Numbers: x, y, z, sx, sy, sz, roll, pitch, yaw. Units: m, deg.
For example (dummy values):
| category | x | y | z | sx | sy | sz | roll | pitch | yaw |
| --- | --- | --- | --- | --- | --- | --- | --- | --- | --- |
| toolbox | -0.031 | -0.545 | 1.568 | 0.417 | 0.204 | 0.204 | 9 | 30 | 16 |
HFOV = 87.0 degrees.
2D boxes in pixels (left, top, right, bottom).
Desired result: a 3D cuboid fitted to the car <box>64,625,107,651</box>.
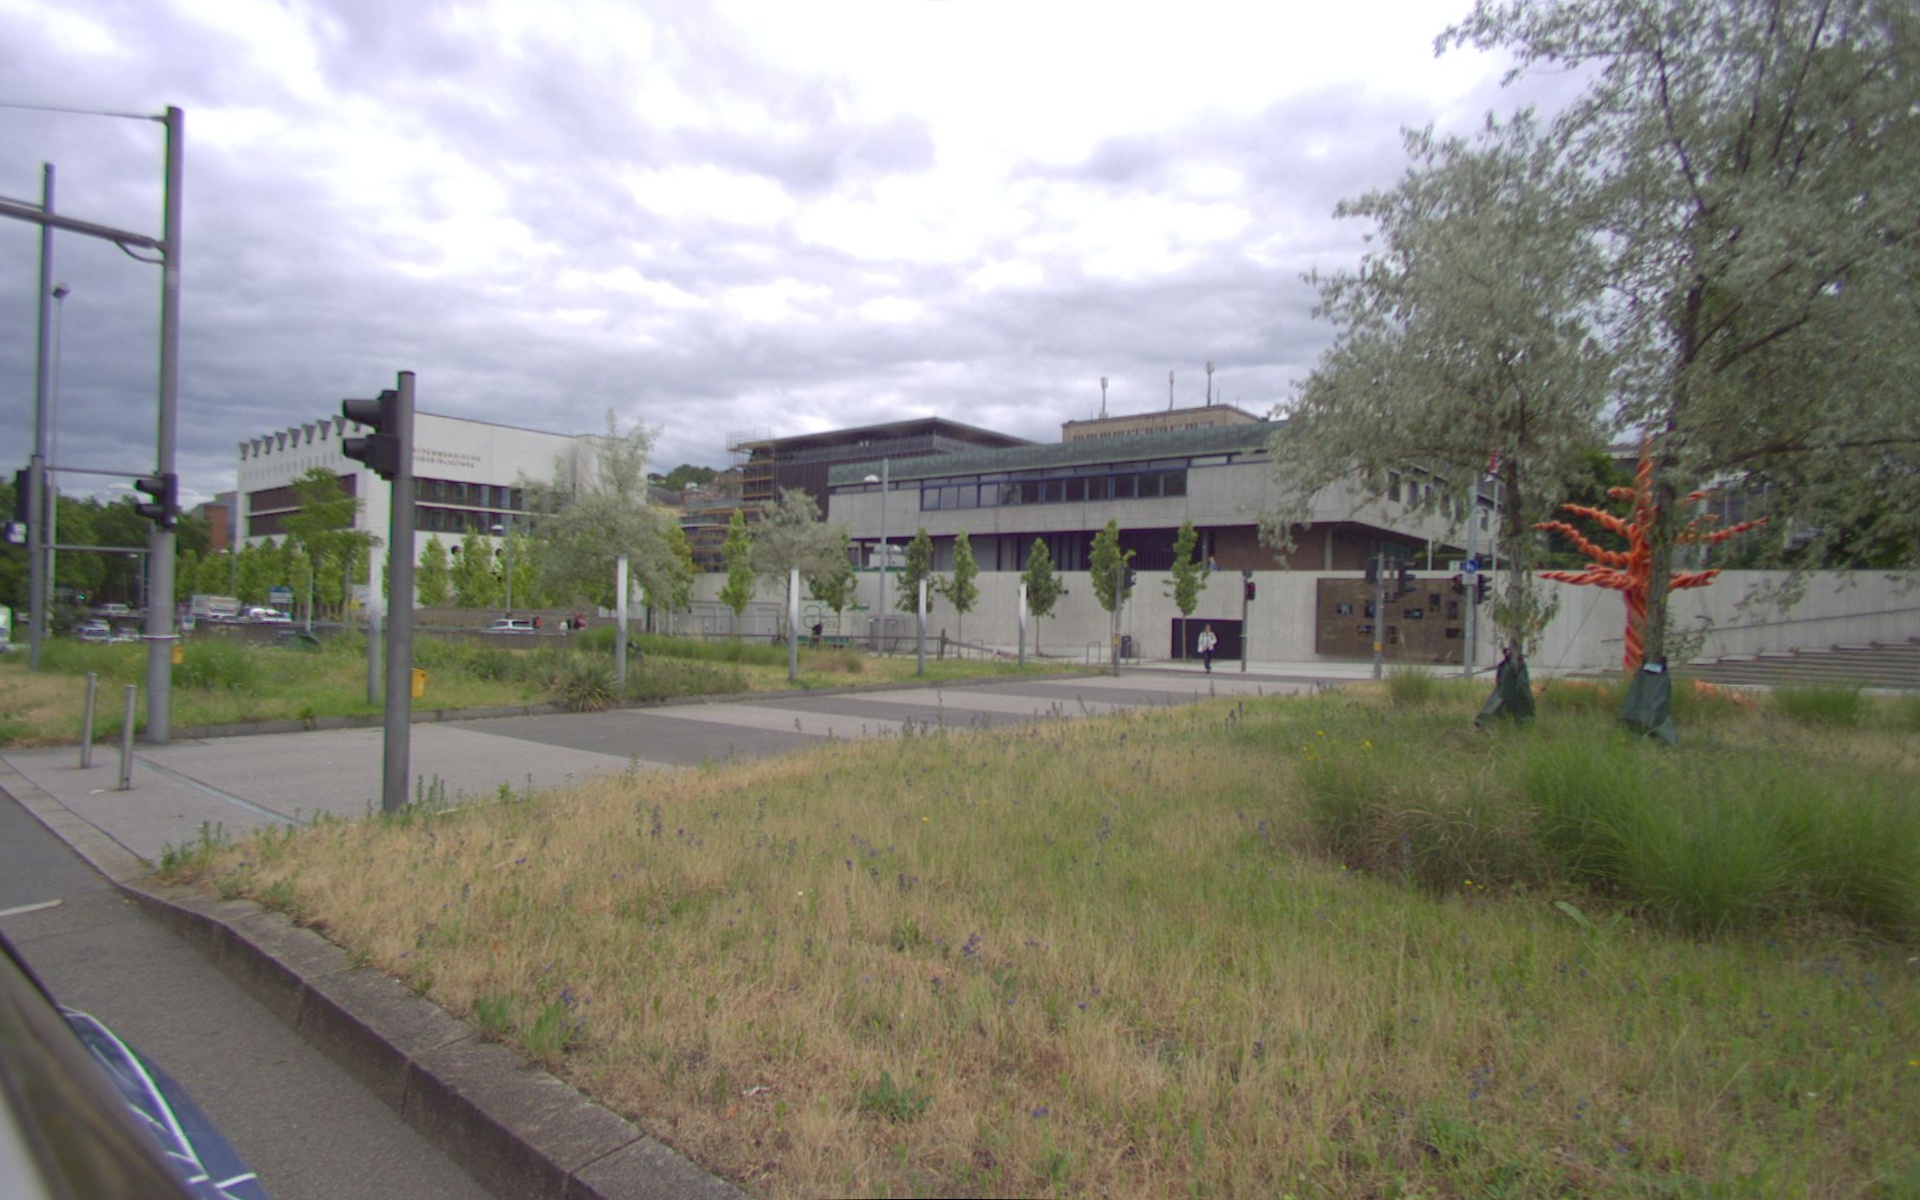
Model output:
| category | x | y | z | sx | sy | sz | roll | pitch | yaw |
| --- | --- | --- | --- | --- | --- | --- | --- | --- | --- |
| car | -72.227 | 3.128 | 83.566 | 4.330 | 2.029 | 1.973 | -2 | -5 | 41 |

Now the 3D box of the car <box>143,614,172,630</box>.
| category | x | y | z | sx | sy | sz | roll | pitch | yaw |
| --- | --- | --- | --- | --- | --- | --- | --- | --- | --- |
| car | -84.162 | 2.293 | 106.117 | 4.269 | 1.586 | 1.700 | -2 | -2 | 42 |

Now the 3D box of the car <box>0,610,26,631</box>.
| category | x | y | z | sx | sy | sz | roll | pitch | yaw |
| --- | --- | --- | --- | --- | --- | --- | --- | --- | --- |
| car | -102.246 | 2.239 | 108.844 | 4.849 | 2.148 | 1.973 | -2 | -5 | 41 |

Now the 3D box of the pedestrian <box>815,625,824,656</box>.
| category | x | y | z | sx | sy | sz | roll | pitch | yaw |
| --- | --- | --- | --- | --- | --- | --- | --- | --- | --- |
| pedestrian | -7.163 | 2.057 | 51.691 | 0.316 | 1.533 | 0.314 | -1 | 0 | 34 |

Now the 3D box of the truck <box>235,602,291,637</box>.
| category | x | y | z | sx | sy | sz | roll | pitch | yaw |
| --- | --- | --- | --- | --- | --- | --- | --- | --- | --- |
| truck | -59.873 | 1.689 | 86.861 | 7.076 | 2.838 | 2.437 | -2 | -2 | 42 |

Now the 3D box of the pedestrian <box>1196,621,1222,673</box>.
| category | x | y | z | sx | sy | sz | roll | pitch | yaw |
| --- | --- | --- | --- | --- | --- | --- | --- | --- | --- |
| pedestrian | 8.447 | 1.592 | 34.348 | 0.663 | 1.747 | 0.534 | -2 | -1 | 41 |

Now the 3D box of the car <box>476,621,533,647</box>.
| category | x | y | z | sx | sy | sz | roll | pitch | yaw |
| --- | --- | --- | --- | --- | --- | --- | --- | --- | --- |
| car | -29.408 | 2.180 | 65.266 | 4.611 | 1.586 | 1.700 | -2 | -2 | 42 |

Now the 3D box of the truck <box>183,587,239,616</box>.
| category | x | y | z | sx | sy | sz | roll | pitch | yaw |
| --- | --- | --- | --- | --- | --- | --- | --- | --- | --- |
| truck | -78.199 | 0.170 | 105.637 | 7.249 | 2.809 | 3.197 | -2 | -2 | 41 |

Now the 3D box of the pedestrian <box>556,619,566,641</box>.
| category | x | y | z | sx | sy | sz | roll | pitch | yaw |
| --- | --- | --- | --- | --- | --- | --- | --- | --- | --- |
| pedestrian | -27.283 | 2.037 | 69.243 | 0.460 | 1.533 | 0.424 | -1 | 0 | 34 |

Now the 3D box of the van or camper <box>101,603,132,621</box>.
| category | x | y | z | sx | sy | sz | roll | pitch | yaw |
| --- | --- | --- | --- | --- | --- | --- | --- | --- | --- |
| van or camper | -96.754 | 1.380 | 116.077 | 4.554 | 2.029 | 1.973 | -2 | -2 | 41 |

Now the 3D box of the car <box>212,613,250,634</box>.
| category | x | y | z | sx | sy | sz | roll | pitch | yaw |
| --- | --- | --- | --- | --- | --- | --- | --- | --- | --- |
| car | -67.982 | 2.193 | 94.359 | 4.255 | 1.829 | 1.973 | -2 | -2 | 41 |
